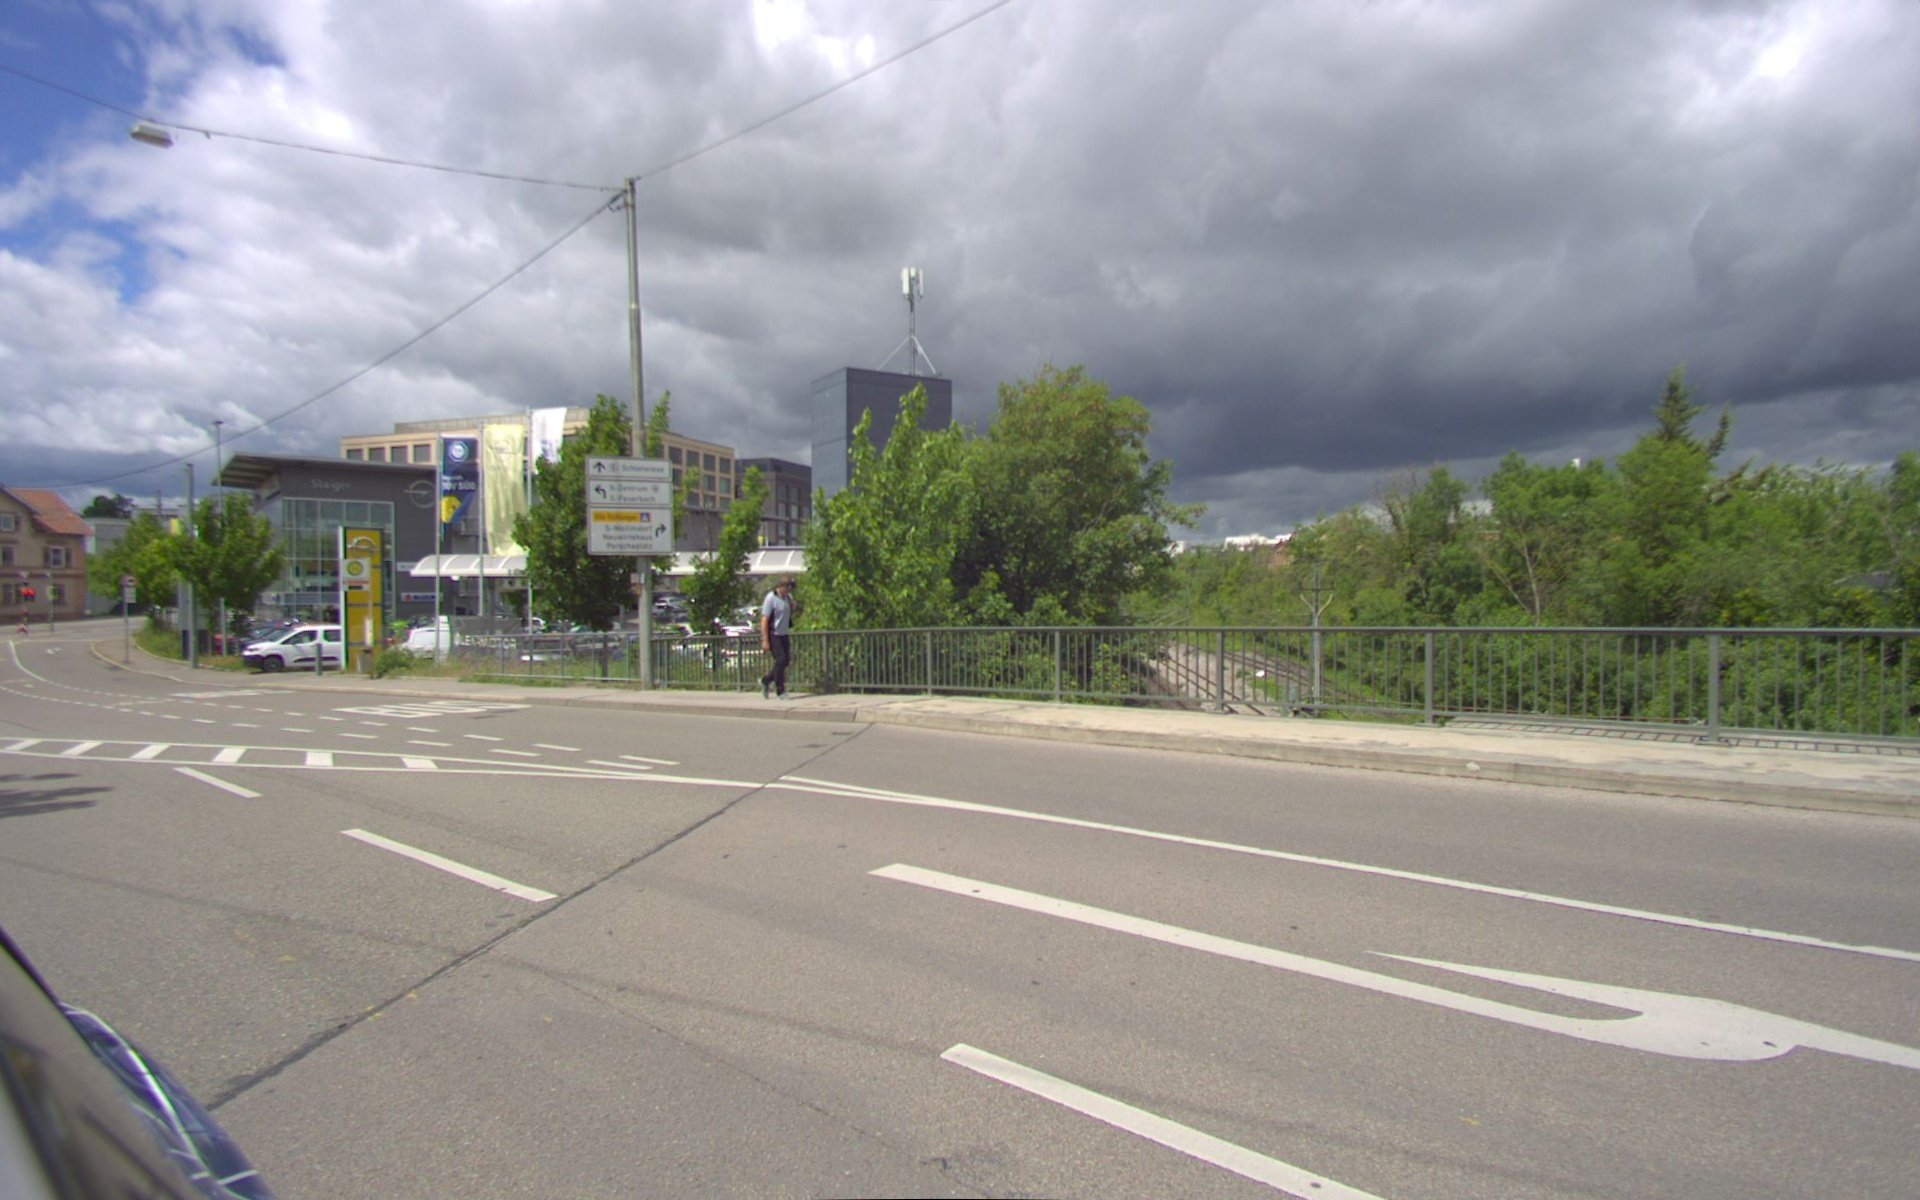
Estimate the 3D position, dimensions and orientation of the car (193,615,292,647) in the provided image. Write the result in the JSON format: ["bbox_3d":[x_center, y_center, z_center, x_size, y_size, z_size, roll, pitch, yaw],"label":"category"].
[{"bbox_3d":[-36.345,1.553,51.309,1.812,1.509,3.808,0,0,42],"label":"car"}]

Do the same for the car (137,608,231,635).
[{"bbox_3d":[-46.015,1.252,60.063,1.813,1.509,4.161,0,0,43],"label":"car"}]

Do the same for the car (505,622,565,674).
[{"bbox_3d":[-14.608,1.584,34.717,1.786,1.477,4.014,-1,1,-24],"label":"car"}]

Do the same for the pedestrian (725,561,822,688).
[{"bbox_3d":[-2.840,0.350,15.434,0.985,1.851,1.037,-2,1,-45],"label":"pedestrian"}]

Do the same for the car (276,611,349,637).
[{"bbox_3d":[-37.605,1.384,58.801,1.518,1.384,3.280,0,0,42],"label":"car"}]

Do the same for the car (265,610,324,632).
[{"bbox_3d":[-43.370,1.332,65.995,1.518,1.384,2.977,0,0,44],"label":"car"}]

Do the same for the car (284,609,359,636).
[{"bbox_3d":[-35.748,1.234,56.705,1.518,1.384,3.280,0,0,42],"label":"car"}]

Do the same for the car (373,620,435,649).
[{"bbox_3d":[-26.265,1.615,47.803,3.474,1.263,1.524,0,0,42],"label":"car"}]

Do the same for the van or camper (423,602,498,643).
[{"bbox_3d":[-25.963,1.114,52.551,4.685,2.029,1.972,0,0,43],"label":"van or camper"}]

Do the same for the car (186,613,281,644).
[{"bbox_3d":[-38.198,1.480,53.272,1.813,1.509,3.785,0,0,43],"label":"car"}]

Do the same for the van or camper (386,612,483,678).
[{"bbox_3d":[-18.317,1.483,35.539,1.956,1.978,4.973,-2,1,-15],"label":"van or camper"}]

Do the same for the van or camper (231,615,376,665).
[{"bbox_3d":[-26.255,1.540,40.579,4.613,1.763,2.002,-1,0,-43],"label":"van or camper"}]
